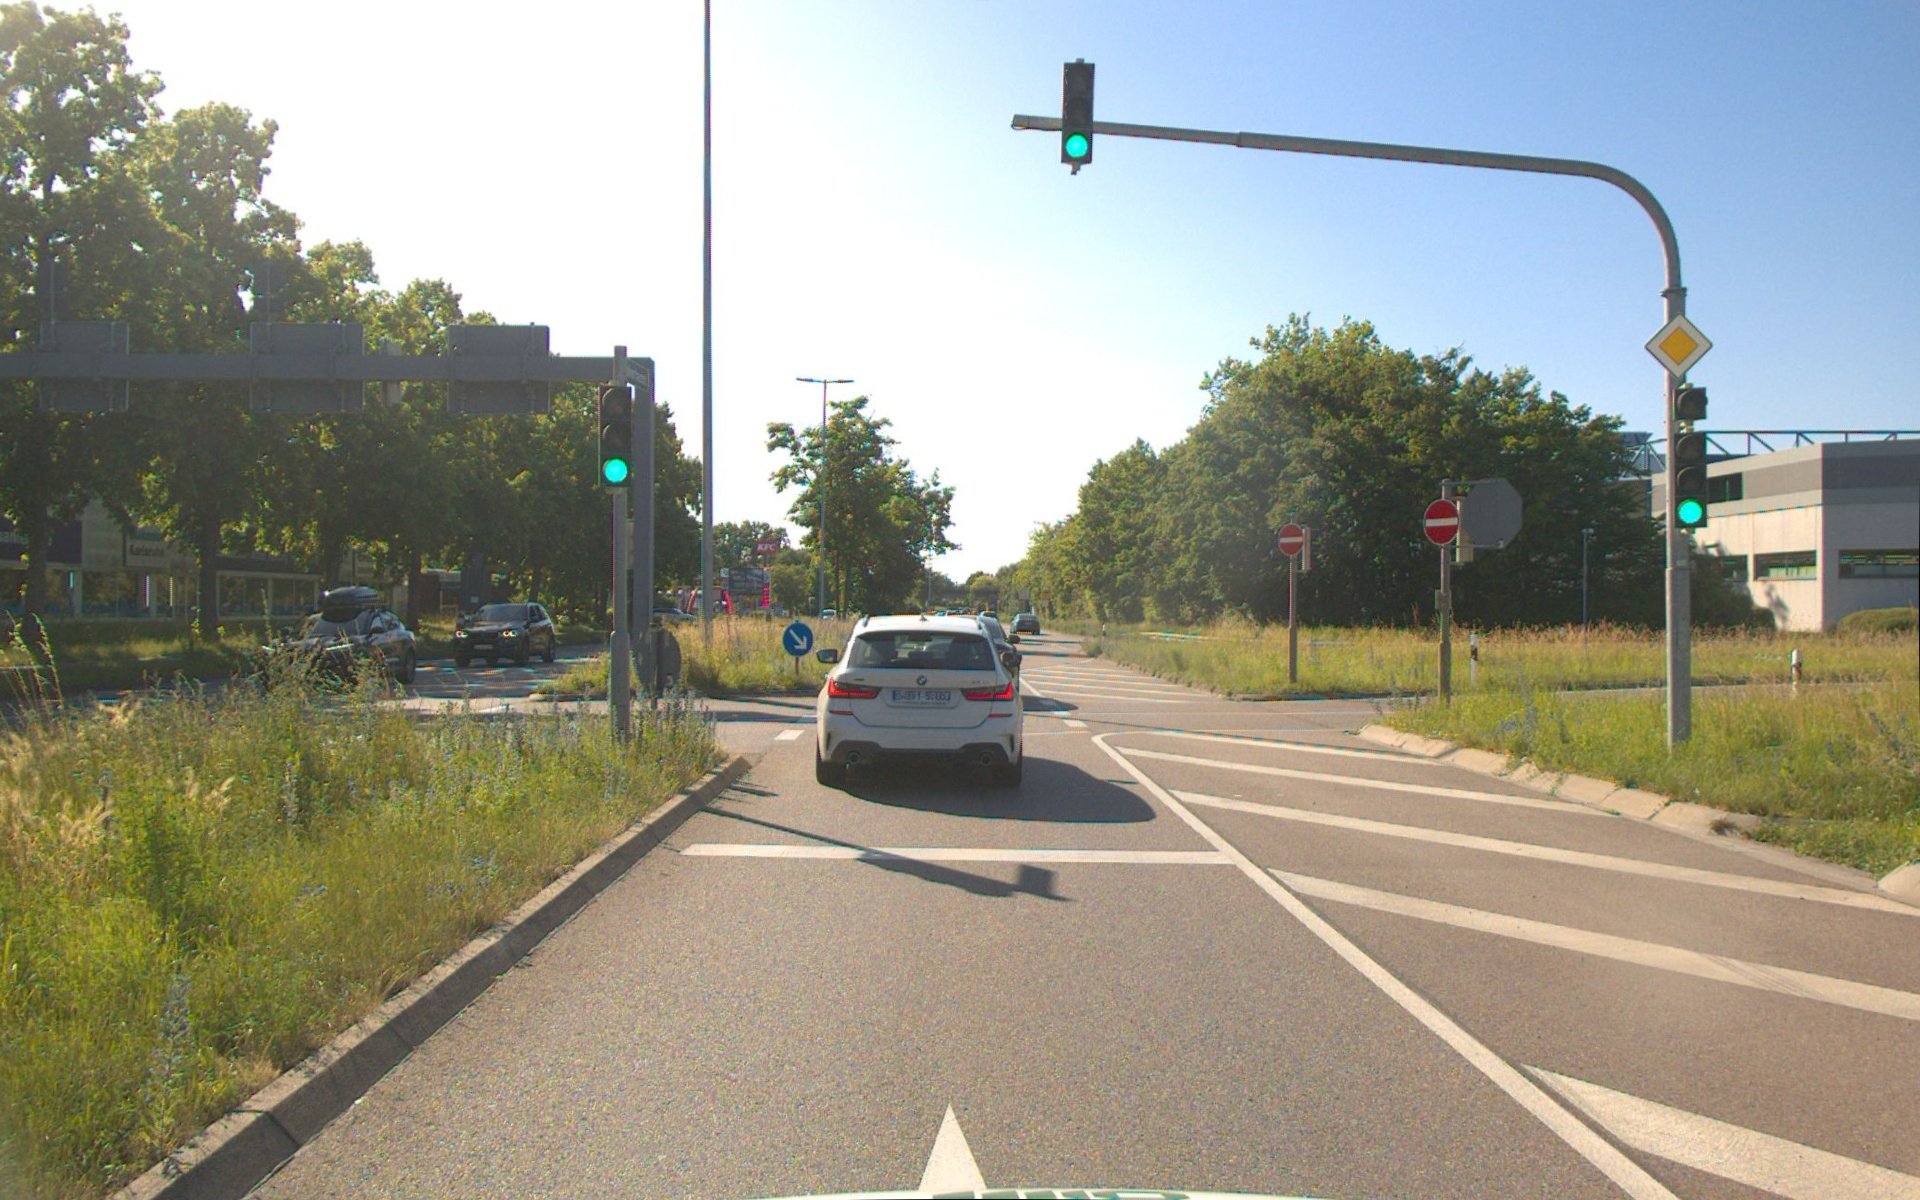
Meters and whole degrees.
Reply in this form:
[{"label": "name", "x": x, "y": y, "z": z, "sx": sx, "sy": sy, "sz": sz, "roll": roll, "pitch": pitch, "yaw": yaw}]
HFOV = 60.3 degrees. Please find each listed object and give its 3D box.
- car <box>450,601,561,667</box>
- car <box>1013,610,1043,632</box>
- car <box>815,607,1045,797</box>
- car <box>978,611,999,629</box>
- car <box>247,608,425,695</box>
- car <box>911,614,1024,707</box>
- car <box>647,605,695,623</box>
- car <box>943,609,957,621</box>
[{"label": "car", "x": -12.855, "y": 0.920, "z": 47.107, "sx": 1.902, "sy": 1.726, "sz": 4.629, "roll": -1, "pitch": 0, "yaw": -1}, {"label": "car", "x": 4.815, "y": 1.483, "z": 117.610, "sx": 1.824, "sy": 1.525, "sz": 4.335, "roll": 1, "pitch": 0, "yaw": -1}, {"label": "car", "x": -0.250, "y": 0.833, "z": 15.602, "sx": 1.824, "sy": 1.480, "sz": 4.547, "roll": 1, "pitch": 0, "yaw": 0}, {"label": "car", "x": 2.579, "y": 1.802, "z": 149.942, "sx": 1.736, "sy": 1.583, "sz": 3.831, "roll": 0, "pitch": 0, "yaw": -2}, {"label": "car", "x": -12.409, "y": 0.968, "z": 33.209, "sx": 1.838, "sy": 1.570, "sz": 4.571, "roll": -2, "pitch": 0, "yaw": -1}, {"label": "car", "x": 0.089, "y": 0.991, "z": 28.910, "sx": 1.824, "sy": 1.480, "sz": 4.546, "roll": 0, "pitch": 0, "yaw": -1}, {"label": "car", "x": -26.596, "y": 1.285, "z": 152.108, "sx": 4.025, "sy": 1.691, "sz": 1.893, "roll": 0, "pitch": 0, "yaw": 2}, {"label": "car", "x": -1.392, "y": 2.107, "z": 227.486, "sx": 1.824, "sy": 1.593, "sz": 4.546, "roll": 0, "pitch": 0, "yaw": -1}]
